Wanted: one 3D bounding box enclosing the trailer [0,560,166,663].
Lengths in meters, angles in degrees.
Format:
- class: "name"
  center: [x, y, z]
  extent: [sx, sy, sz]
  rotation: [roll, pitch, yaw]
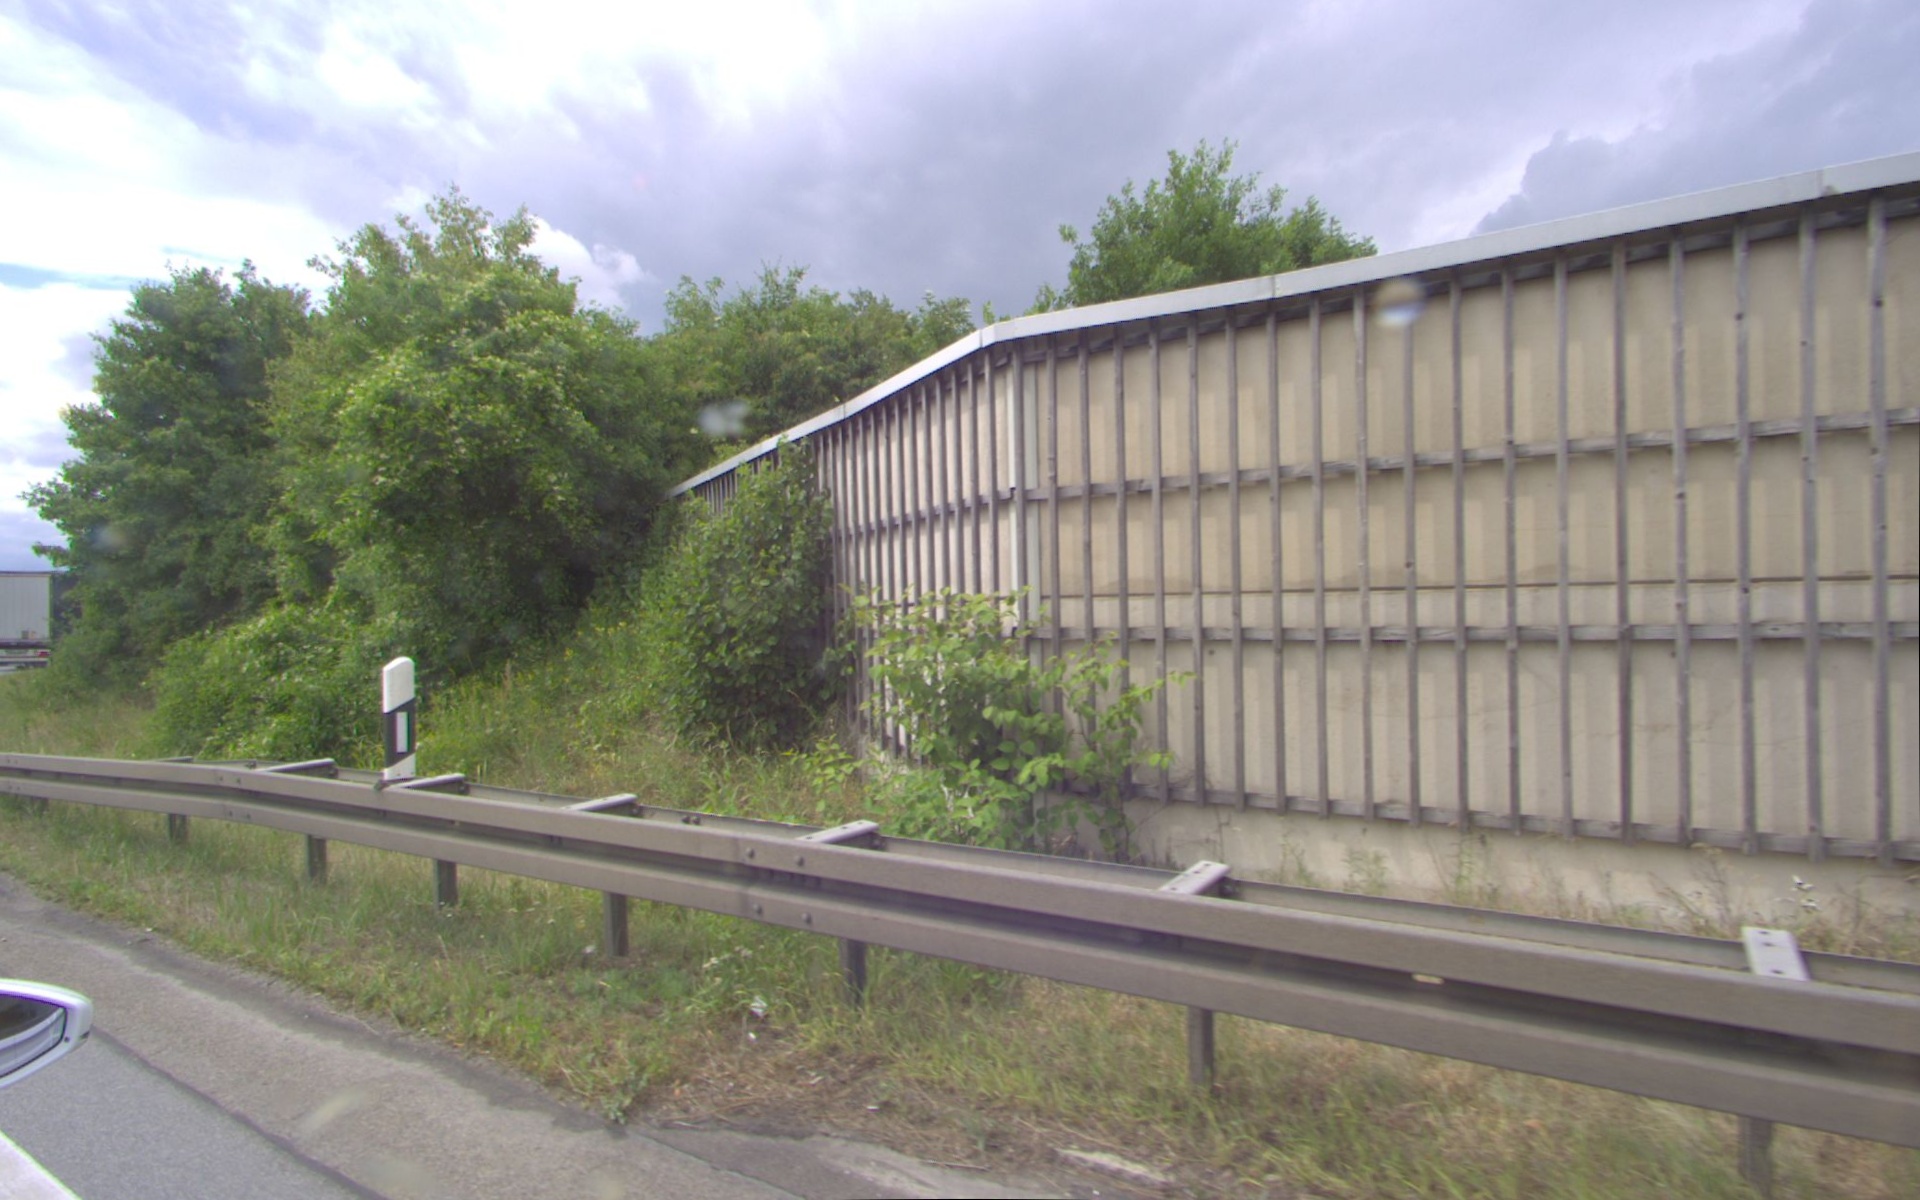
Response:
- class: "trailer"
  center: [-41.644, 0.628, 47.357]
  extent: [3.288, 4.247, 12.988]
  rotation: [0, -1, -24]
